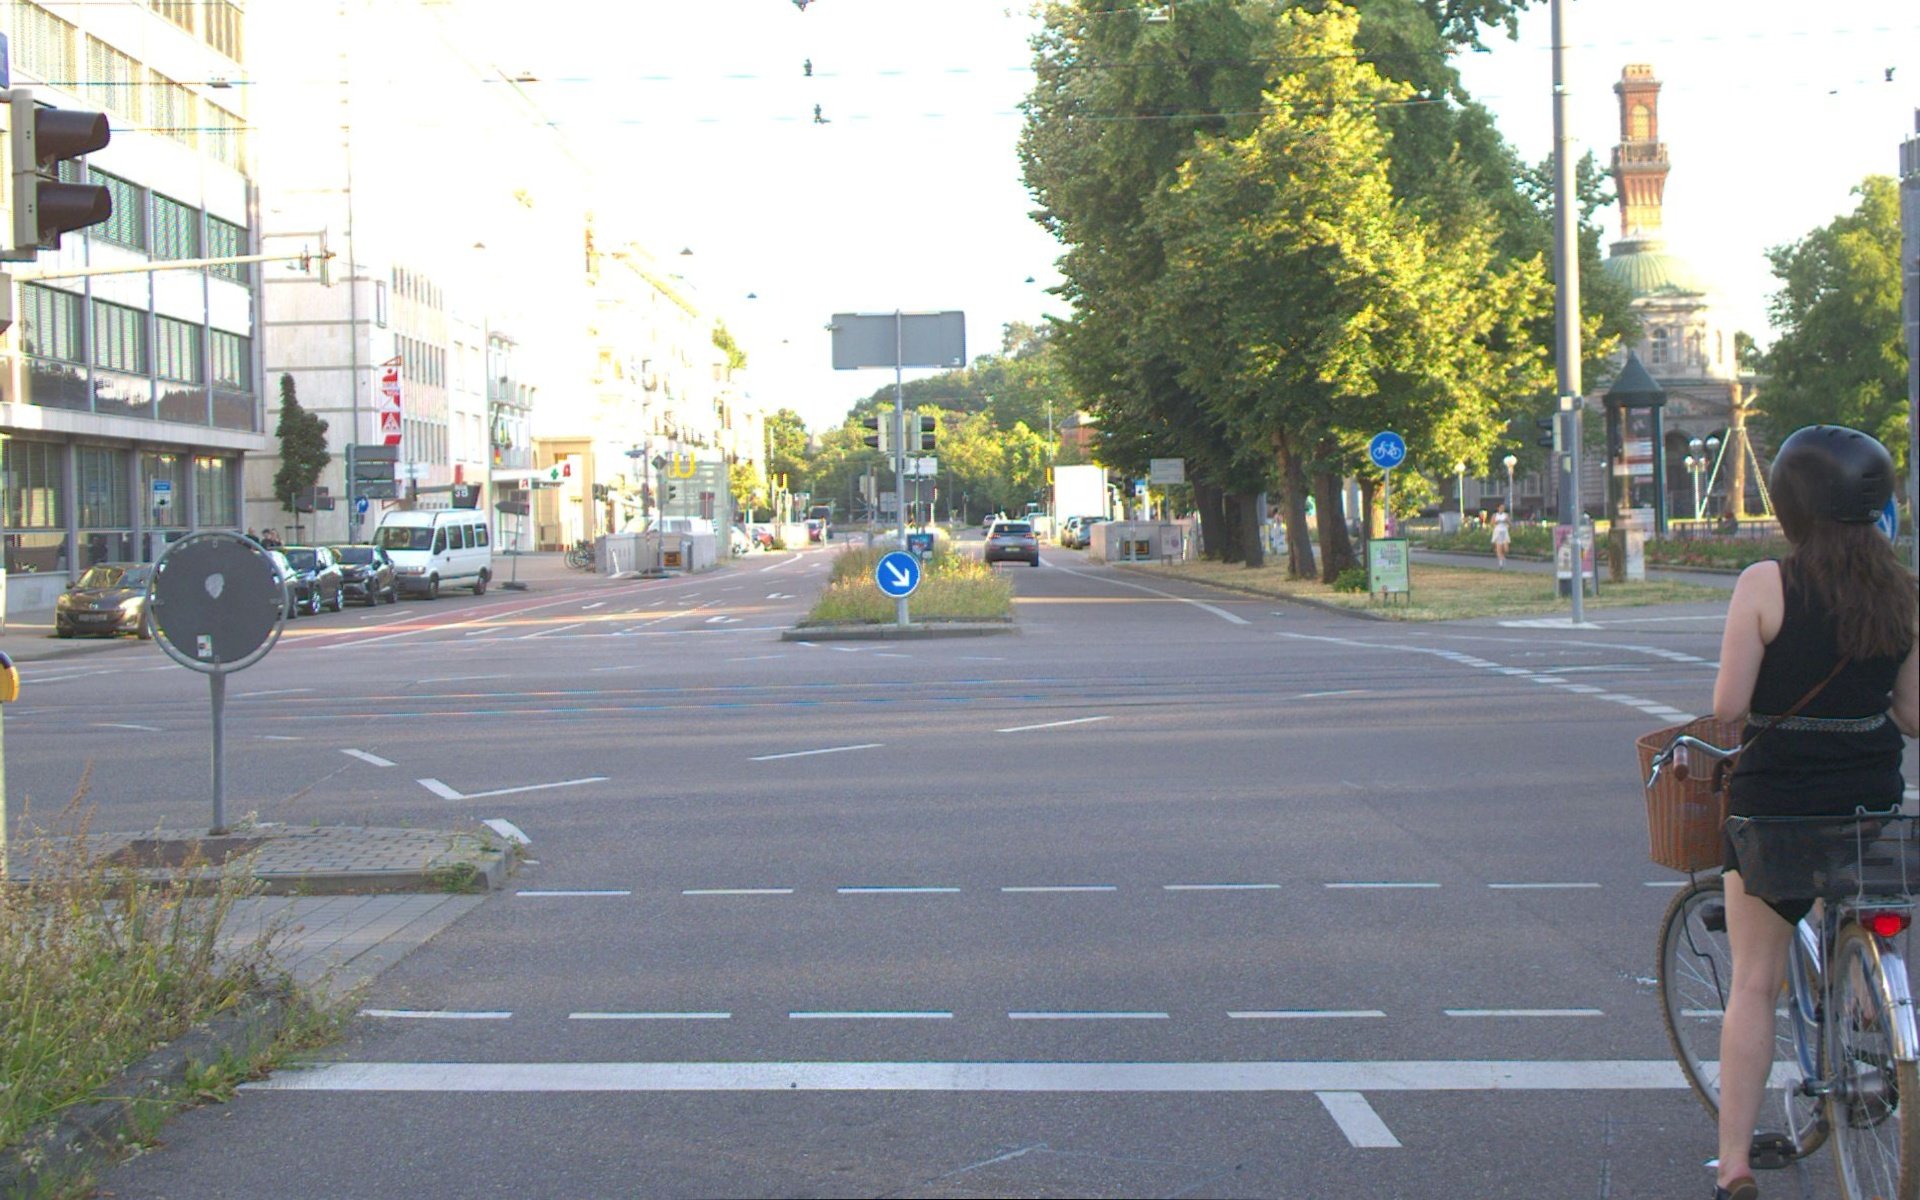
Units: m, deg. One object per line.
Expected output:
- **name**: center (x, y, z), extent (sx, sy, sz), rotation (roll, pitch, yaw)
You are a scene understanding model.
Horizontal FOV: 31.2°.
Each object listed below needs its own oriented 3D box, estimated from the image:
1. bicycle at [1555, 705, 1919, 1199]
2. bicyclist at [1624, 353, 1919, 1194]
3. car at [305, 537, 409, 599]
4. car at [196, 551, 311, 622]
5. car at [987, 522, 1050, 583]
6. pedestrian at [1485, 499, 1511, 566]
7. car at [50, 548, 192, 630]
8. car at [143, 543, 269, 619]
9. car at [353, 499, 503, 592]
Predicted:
- **bicycle**: center (1.837, 0.825, 7.716), extent (0.637, 1.065, 2.069), rotation (0, 1, 0)
- **bicyclist**: center (1.821, 0.342, 7.309), extent (0.628, 1.687, 0.748), rotation (-1, 1, -1)
- **car**: center (-15.729, -0.810, 89.869), extent (1.796, 1.470, 3.999), rotation (-1, -1, 3)
- **car**: center (-15.910, -0.285, 77.565), extent (1.796, 1.470, 4.000), rotation (-1, -1, -1)
- **car**: center (1.990, -1.657, 118.853), extent (1.993, 2.007, 4.000), rotation (-1, 1, -1)
- **pedestrian**: center (13.446, -1.682, 85.944), extent (0.508, 1.663, 0.531), rotation (-1, 1, -1)
- **car**: center (-16.291, -0.198, 66.922), extent (1.796, 1.470, 4.000), rotation (-1, -1, -1)
- **car**: center (-15.914, -0.379, 72.716), extent (1.796, 1.470, 4.000), rotation (-1, -1, -1)
- **car**: center (-14.862, -1.478, 96.449), extent (2.178, 2.377, 5.986), rotation (-2, -1, 11)
